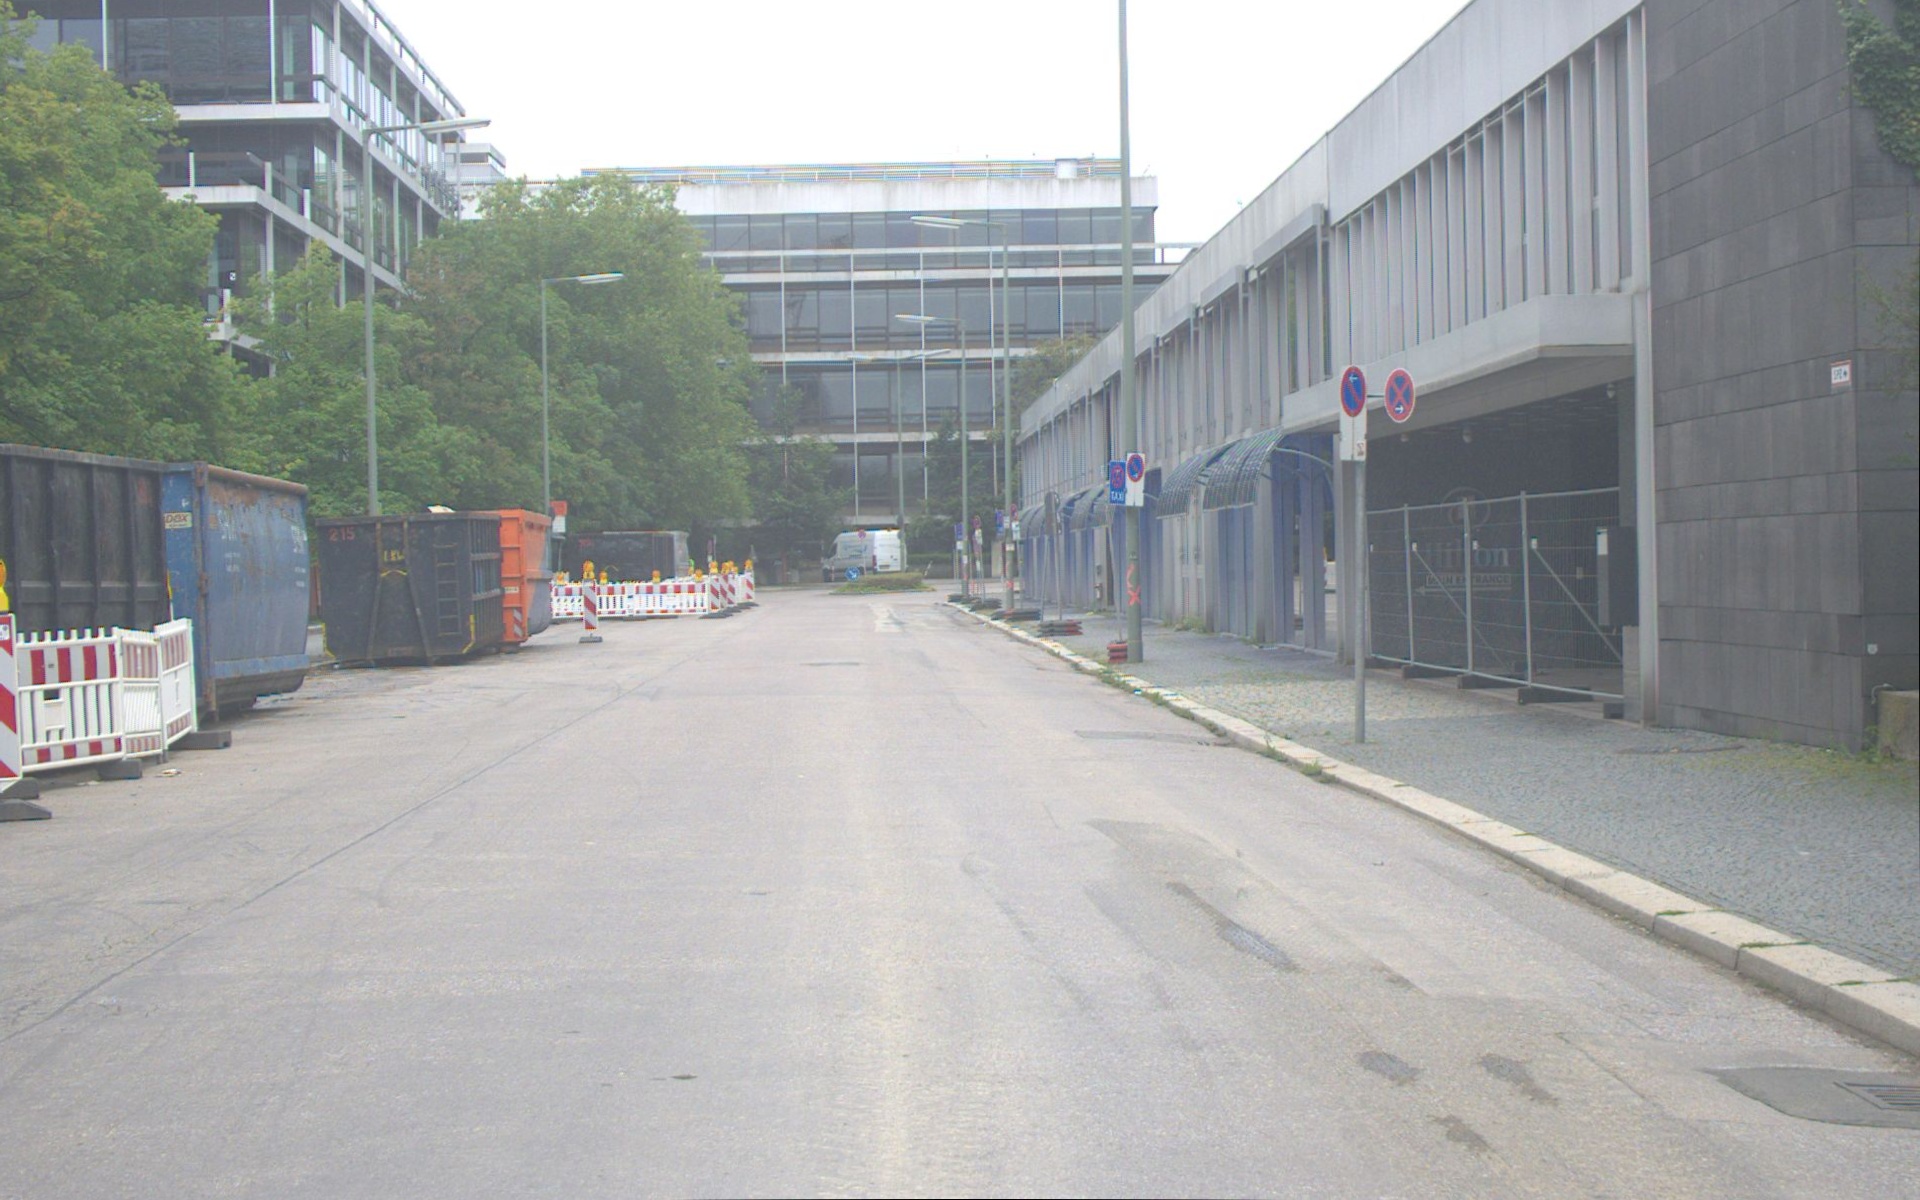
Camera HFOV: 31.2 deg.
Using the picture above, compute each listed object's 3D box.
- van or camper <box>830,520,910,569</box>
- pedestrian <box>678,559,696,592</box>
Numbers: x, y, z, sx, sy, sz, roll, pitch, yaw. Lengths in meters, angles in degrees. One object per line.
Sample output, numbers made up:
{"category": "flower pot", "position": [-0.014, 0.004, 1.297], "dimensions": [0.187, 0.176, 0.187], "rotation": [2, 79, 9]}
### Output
{"category": "van or camper", "position": [-4.660, -2.843, 176.626], "dimensions": [2.085, 2.483, 5.068], "rotation": [-1, 1, -27]}
{"category": "pedestrian", "position": [-13.927, -1.247, 175.216], "dimensions": [0.741, 1.671, 0.682], "rotation": [-1, 1, -21]}
